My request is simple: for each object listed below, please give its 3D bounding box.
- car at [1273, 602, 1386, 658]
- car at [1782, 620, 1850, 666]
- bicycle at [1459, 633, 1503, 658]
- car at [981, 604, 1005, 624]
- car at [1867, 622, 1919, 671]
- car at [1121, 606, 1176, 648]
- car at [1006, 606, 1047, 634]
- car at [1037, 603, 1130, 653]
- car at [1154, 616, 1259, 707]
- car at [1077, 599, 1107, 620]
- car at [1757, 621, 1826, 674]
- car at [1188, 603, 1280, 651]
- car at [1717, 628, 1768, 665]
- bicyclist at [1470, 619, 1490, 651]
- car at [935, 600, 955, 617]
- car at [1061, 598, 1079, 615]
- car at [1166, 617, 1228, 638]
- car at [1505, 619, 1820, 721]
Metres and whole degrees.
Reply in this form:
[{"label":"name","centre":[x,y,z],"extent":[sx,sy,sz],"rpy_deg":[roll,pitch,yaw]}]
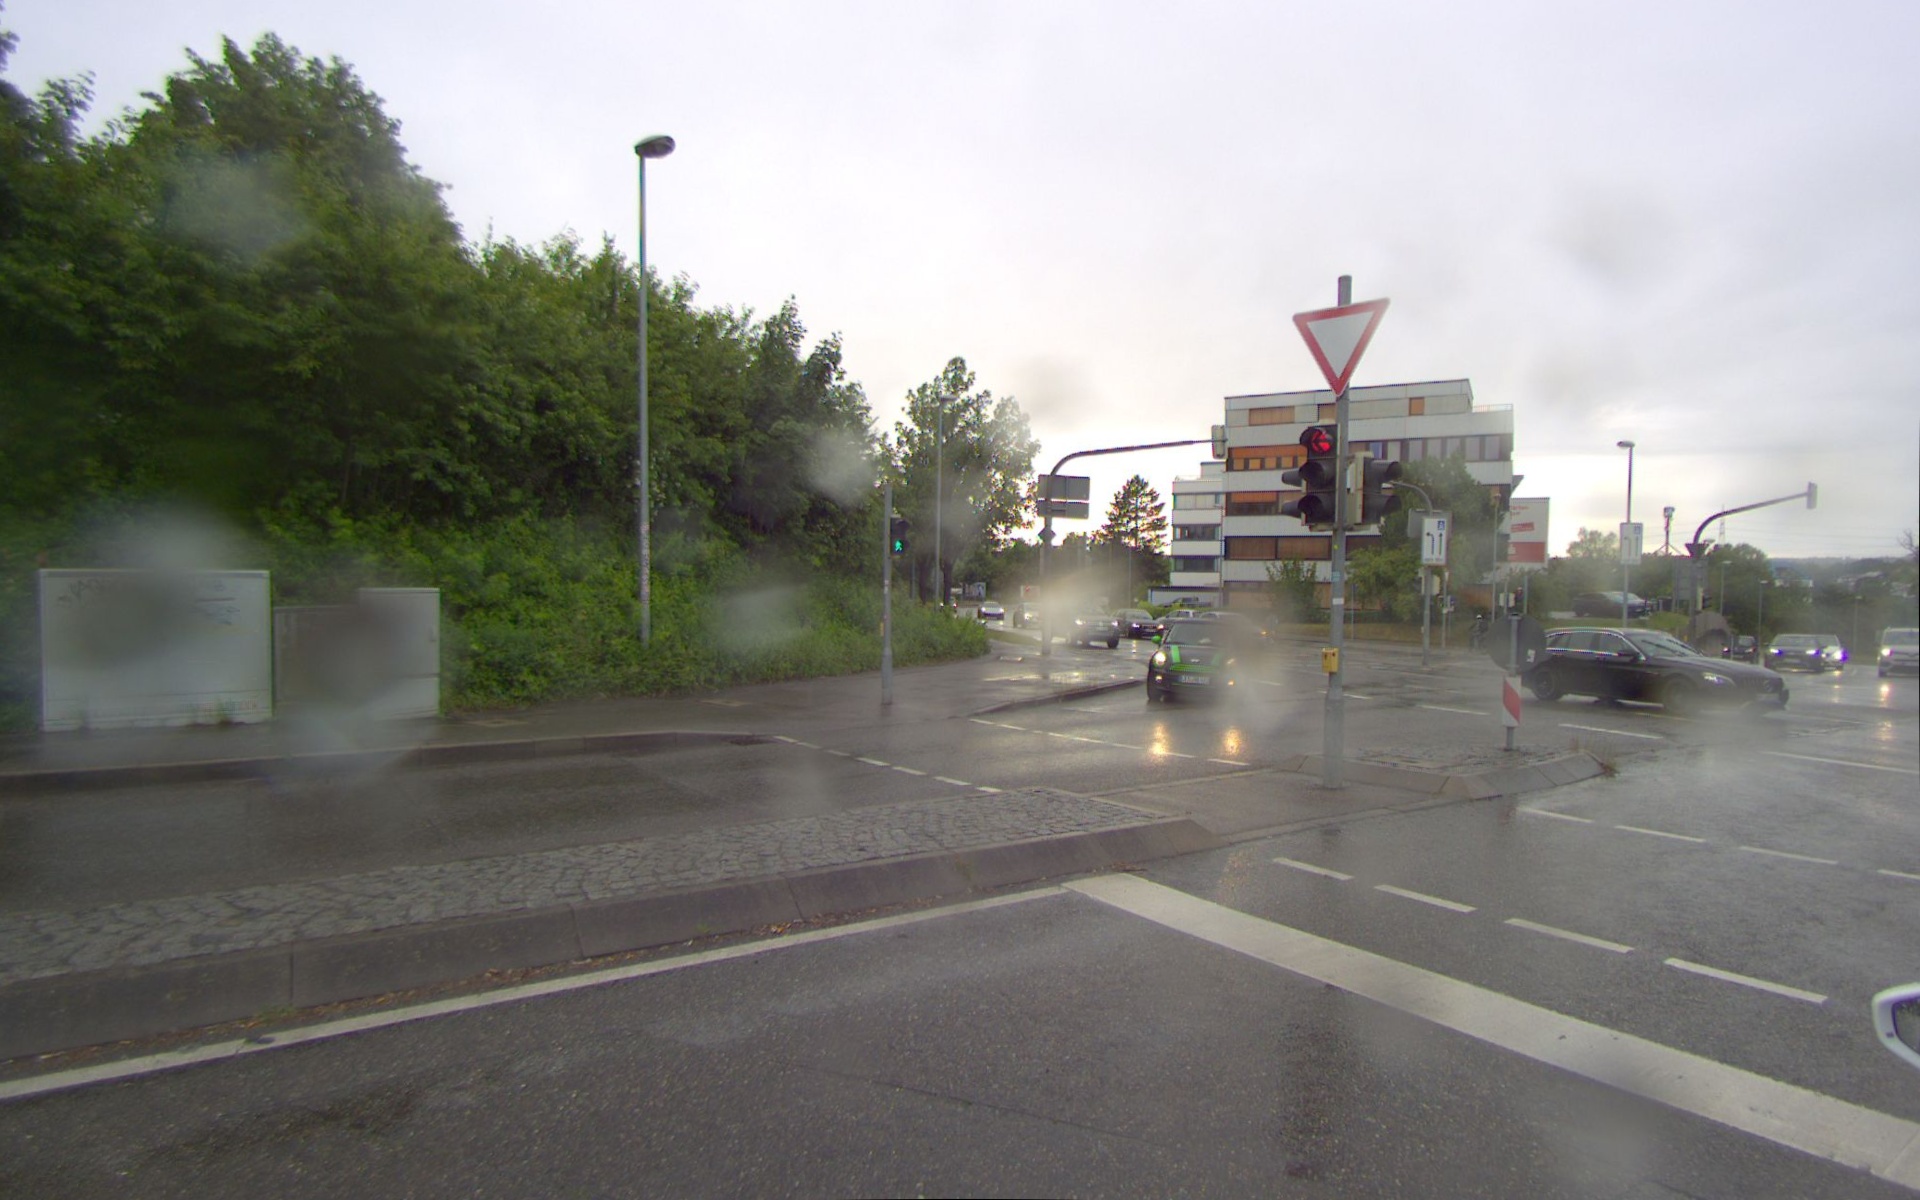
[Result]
[{"label":"car","centre":[13.657,1.061,37.406],"extent":[1.966,1.865,4.143],"rpy_deg":[1,1,-14]},{"label":"car","centre":[38.985,1.901,45.730],"extent":[3.973,1.920,1.974],"rpy_deg":[1,1,-44]},{"label":"bicycle","centre":[24.195,2.108,46.683],"extent":[0.602,1.066,1.768],"rpy_deg":[1,1,-26]},{"label":"car","centre":[2.558,1.086,78.081],"extent":[1.820,1.377,4.446],"rpy_deg":[1,1,1]},{"label":"car","centre":[34.921,1.679,37.006],"extent":[3.974,1.639,1.973],"rpy_deg":[1,1,-45]},{"label":"car","centre":[9.178,1.281,49.255],"extent":[1.672,1.862,3.998],"rpy_deg":[1,1,-4]},{"label":"car","centre":[3.778,1.090,57.416],"extent":[1.890,1.436,4.151],"rpy_deg":[1,1,-2]},{"label":"car","centre":[4.645,1.027,38.608],"extent":[1.967,1.725,4.597],"rpy_deg":[1,1,-15]},{"label":"car","centre":[4.609,1.043,18.467],"extent":[1.648,1.405,3.461],"rpy_deg":[2,1,17]},{"label":"car","centre":[11.195,0.785,85.381],"extent":[1.918,1.617,4.000],"rpy_deg":[1,1,0]},{"label":"car","centre":[33.620,1.874,40.580],"extent":[1.971,1.920,3.978],"rpy_deg":[2,1,42]},{"label":"car","centre":[10.732,1.018,39.711],"extent":[1.964,1.706,3.992],"rpy_deg":[1,1,-10]},{"label":"car","centre":[45.300,2.651,58.106],"extent":[1.972,1.920,3.977],"rpy_deg":[2,1,43]},{"label":"bicyclist","centre":[24.181,1.632,46.718],"extent":[0.595,1.465,0.541],"rpy_deg":[1,0,-27]},{"label":"car","centre":[-1.399,0.791,97.114],"extent":[1.809,1.534,4.000],"rpy_deg":[1,0,0]},{"label":"car","centre":[12.510,0.689,114.892],"extent":[1.960,1.873,4.002],"rpy_deg":[1,1,6]},{"label":"car","centre":[14.332,1.627,60.925],"extent":[1.797,1.120,3.491],"rpy_deg":[1,1,-27]},{"label":"car","centre":[12.810,1.199,18.765],"extent":[1.966,1.496,4.660],"rpy_deg":[1,1,-14]}]
